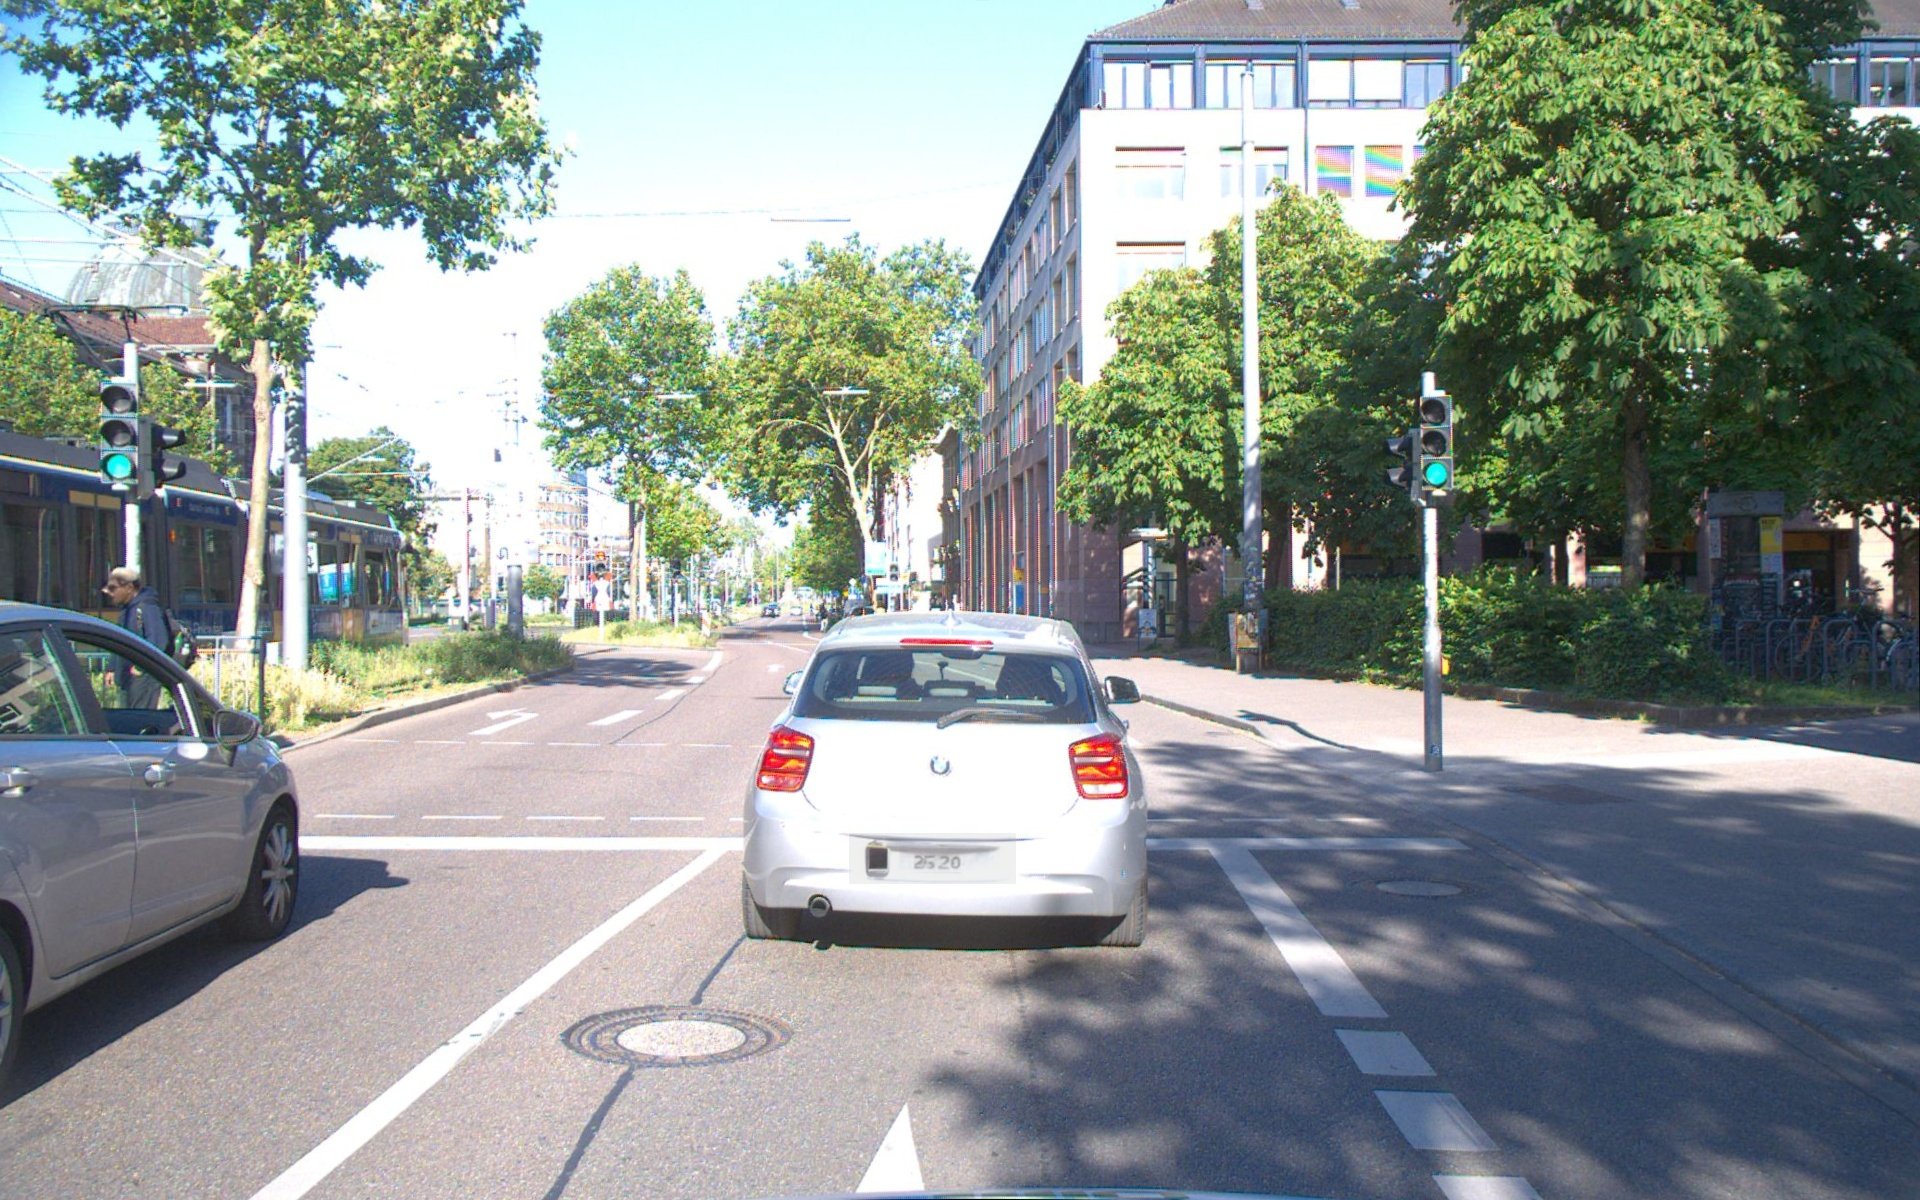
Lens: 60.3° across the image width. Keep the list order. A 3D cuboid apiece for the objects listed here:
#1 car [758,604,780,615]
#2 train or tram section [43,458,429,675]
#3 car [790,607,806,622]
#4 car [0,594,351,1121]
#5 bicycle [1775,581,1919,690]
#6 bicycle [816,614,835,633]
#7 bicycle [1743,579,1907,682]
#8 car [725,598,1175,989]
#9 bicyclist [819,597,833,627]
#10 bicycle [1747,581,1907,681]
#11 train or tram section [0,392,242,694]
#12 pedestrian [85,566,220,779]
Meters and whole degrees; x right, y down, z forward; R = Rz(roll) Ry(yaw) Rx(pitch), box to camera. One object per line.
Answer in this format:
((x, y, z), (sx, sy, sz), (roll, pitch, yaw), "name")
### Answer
((-24.887, 1.229, 215.197), (1.965, 1.512, 3.975), (0, 0, -21), "car")
((-13.368, -0.393, 32.329), (2.858, 3.317, 13.096), (1, -1, -5), "train or tram section")
((-24.304, 2.206, 247.670), (1.953, 2.049, 3.999), (1, -1, 0), "car")
((-3.480, 0.702, 5.614), (1.627, 1.434, 3.629), (1, -1, -3), "car")
((11.754, 0.455, 21.565), (1.956, 1.337, 0.574), (-2, 0, -2), "bicycle")
((-7.835, 1.346, 96.459), (0.814, 1.059, 1.875), (-1, 0, 4), "bicycle")
((11.991, 0.413, 22.949), (1.956, 1.337, 0.574), (-2, 0, -2), "bicycle")
((0.036, 0.733, 8.218), (1.694, 1.415, 3.841), (1, 1, 2), "car")
((-7.828, 0.700, 96.459), (0.644, 1.686, 0.765), (-1, 0, 5), "bicyclist")
((12.345, 0.436, 23.579), (1.956, 1.337, 0.574), (-2, 0, -2), "bicycle")
((-11.991, -0.660, 17.906), (2.858, 3.317, 15.873), (1, -1, -5), "train or tram section")
((-6.527, 0.570, 13.366), (0.931, 1.657, 0.622), (1, -1, -30), "pedestrian")
